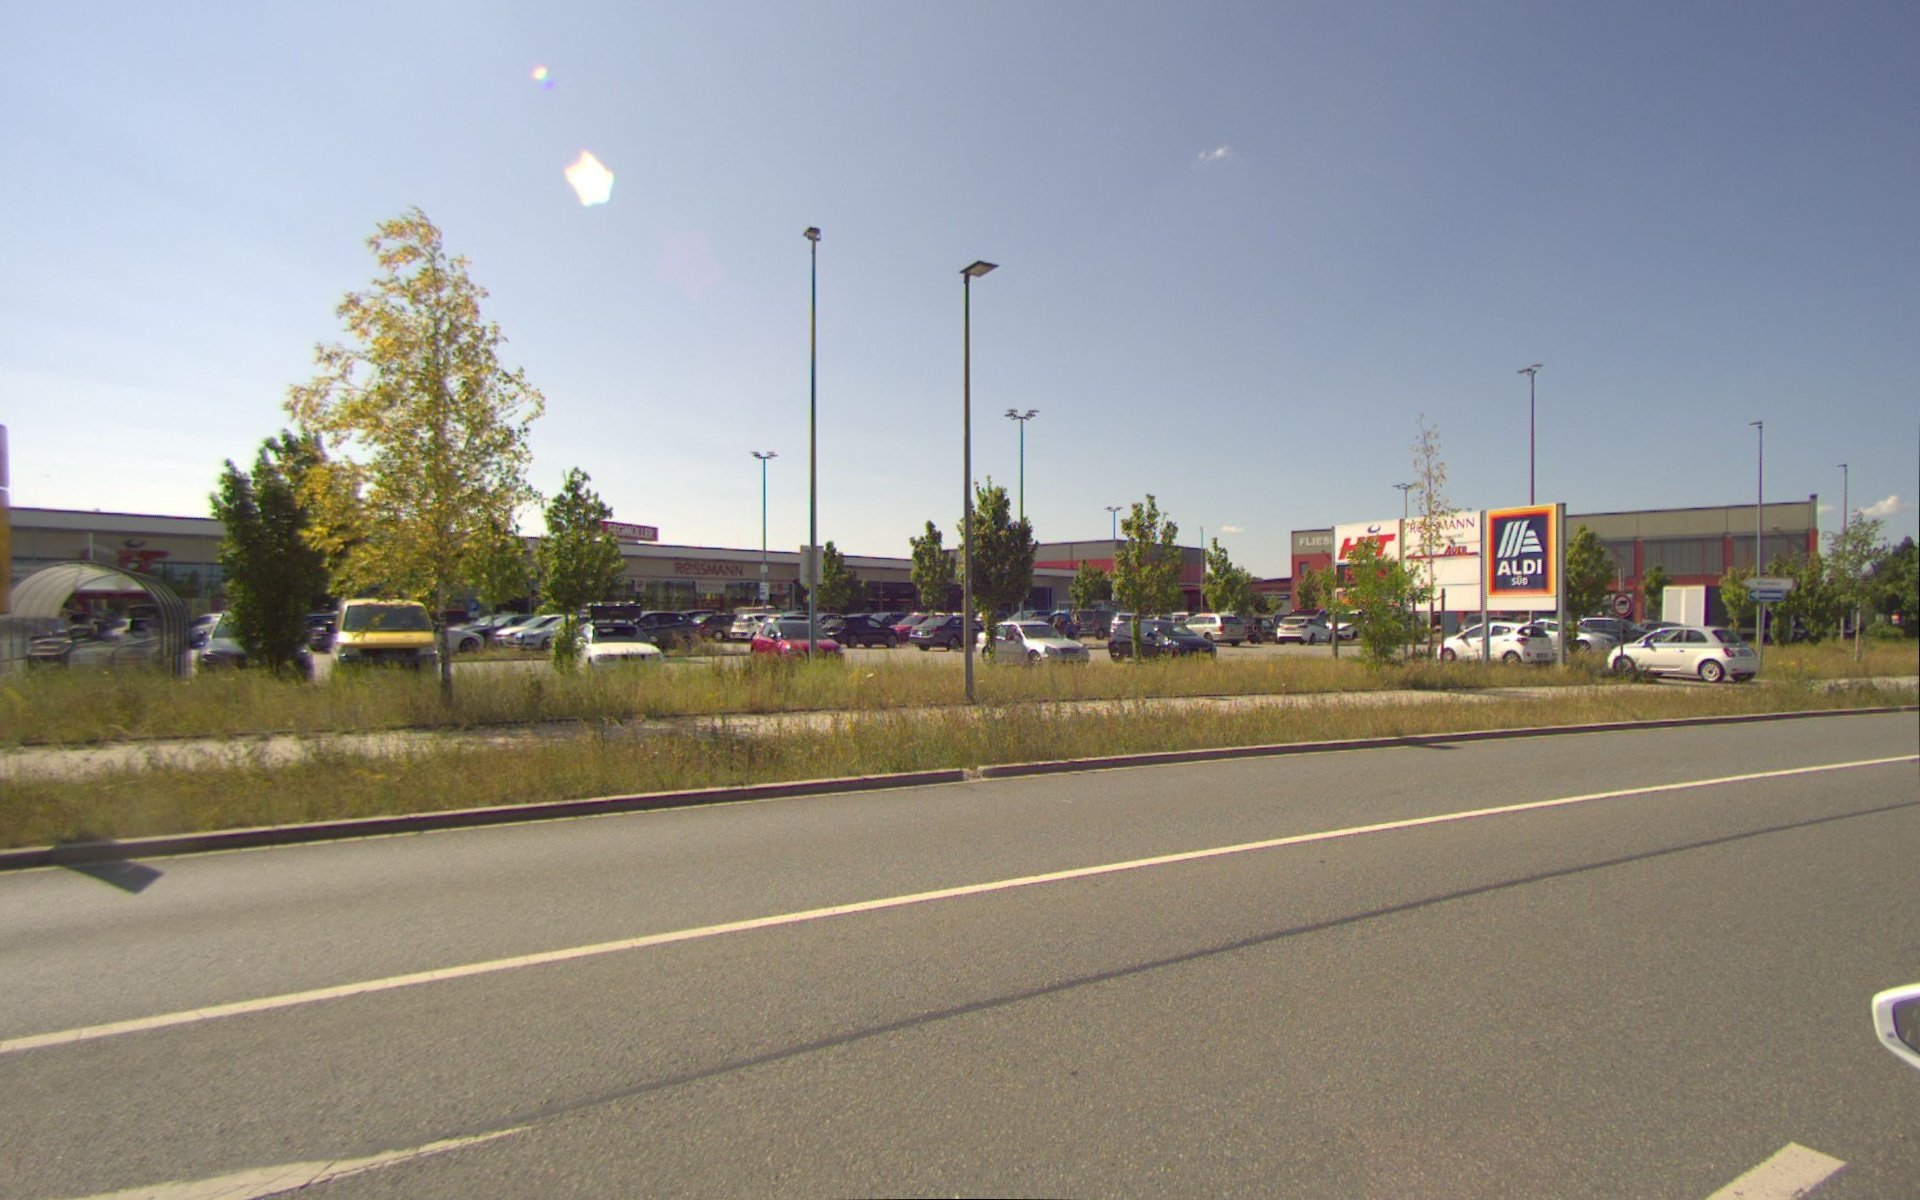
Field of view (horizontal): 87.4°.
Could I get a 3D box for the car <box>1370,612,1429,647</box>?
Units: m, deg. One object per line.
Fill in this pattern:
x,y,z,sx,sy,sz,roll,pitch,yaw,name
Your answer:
24.534,1.627,56.004,1.811,1.848,4.359,0,-1,41,car

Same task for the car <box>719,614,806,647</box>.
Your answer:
-10.183,1.549,52.011,1.691,1.637,4.334,-1,-1,40,car

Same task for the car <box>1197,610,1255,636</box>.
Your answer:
16.908,1.440,63.825,1.811,1.603,4.359,0,-1,41,car

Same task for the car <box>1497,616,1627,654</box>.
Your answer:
26.320,1.496,44.027,1.819,1.532,4.578,1,-1,-34,car

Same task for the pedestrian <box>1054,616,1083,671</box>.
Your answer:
3.424,1.372,31.687,0.571,1.717,0.761,1,-1,-28,pedestrian

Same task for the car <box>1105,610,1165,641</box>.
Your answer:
10.621,1.534,60.735,1.886,1.749,4.367,0,-1,36,car

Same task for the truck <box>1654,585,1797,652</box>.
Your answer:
41.871,1.058,54.921,7.371,3.510,2.316,1,-1,-16,truck

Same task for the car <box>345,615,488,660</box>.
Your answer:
-19.821,1.348,36.765,1.693,1.546,4.330,-1,-1,42,car

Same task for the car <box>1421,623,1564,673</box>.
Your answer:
17.987,1.575,34.120,1.892,1.568,3.974,1,-1,-26,car

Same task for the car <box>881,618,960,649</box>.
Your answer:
-2.036,1.742,52.981,1.691,1.596,4.334,-1,-1,40,car

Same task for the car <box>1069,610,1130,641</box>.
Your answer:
8.675,1.585,62.112,1.887,1.817,4.365,0,-1,37,car

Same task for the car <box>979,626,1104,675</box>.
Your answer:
2.404,1.485,30.779,1.912,1.366,4.127,1,-1,-28,car

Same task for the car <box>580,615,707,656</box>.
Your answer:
-11.809,1.286,37.702,1.691,1.436,4.334,-1,-1,40,car

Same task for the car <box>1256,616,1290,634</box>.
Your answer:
29.142,2.310,93.561,1.641,1.598,4.066,0,-1,39,car

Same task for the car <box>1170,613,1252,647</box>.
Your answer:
12.067,1.433,48.541,1.814,1.568,3.977,1,-1,-23,car

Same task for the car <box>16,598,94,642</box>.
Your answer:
-39.590,0.856,43.916,4.284,1.831,1.711,-1,-1,36,car

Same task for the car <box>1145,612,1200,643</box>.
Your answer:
12.593,1.599,59.318,1.884,1.740,4.372,0,-1,31,car

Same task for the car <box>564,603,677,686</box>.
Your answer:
-8.542,1.055,25.053,1.910,1.886,4.124,1,-1,-30,car

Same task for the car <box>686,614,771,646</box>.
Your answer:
-12.341,1.590,53.719,1.691,1.623,4.334,-1,-1,40,car

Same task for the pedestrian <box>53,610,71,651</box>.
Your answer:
-30.741,1.038,34.383,0.503,1.414,0.411,0,-1,43,pedestrian

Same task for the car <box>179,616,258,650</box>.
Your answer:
-35.142,1.546,47.600,4.284,1.545,1.828,-1,-1,36,car

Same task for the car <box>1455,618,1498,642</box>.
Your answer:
35.824,2.090,69.599,1.810,1.583,4.363,0,-1,39,car

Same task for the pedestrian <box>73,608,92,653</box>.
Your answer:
-29.118,1.012,33.343,0.503,1.484,0.411,0,-1,43,pedestrian

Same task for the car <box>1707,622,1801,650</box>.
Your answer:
48.199,2.147,61.003,1.826,1.573,4.324,2,-1,-45,car

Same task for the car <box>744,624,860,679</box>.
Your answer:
-4.429,1.352,27.666,1.912,1.366,4.127,1,-1,-28,car

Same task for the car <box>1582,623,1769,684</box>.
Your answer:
20.404,1.479,28.825,1.893,1.568,3.972,1,-1,-27,car

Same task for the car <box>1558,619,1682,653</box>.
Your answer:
30.706,1.647,46.866,1.819,1.478,4.548,1,-1,-34,car

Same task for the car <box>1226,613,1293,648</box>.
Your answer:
16.497,1.683,55.284,1.890,1.827,4.359,0,-1,41,car

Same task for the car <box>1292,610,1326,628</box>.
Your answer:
31.630,1.700,90.944,1.641,1.608,4.066,0,-1,39,car

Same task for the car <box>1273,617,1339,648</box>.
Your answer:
18.319,1.696,53.114,1.811,1.532,4.359,0,-1,41,car

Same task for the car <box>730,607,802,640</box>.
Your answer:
-12.042,1.431,62.445,1.691,1.984,4.334,-1,-1,40,car

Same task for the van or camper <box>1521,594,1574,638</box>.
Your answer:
46.136,1.308,78.792,2.401,3.314,7.201,0,-1,40,van or camper

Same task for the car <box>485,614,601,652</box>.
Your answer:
-17.816,1.374,43.113,1.691,1.553,4.334,-1,-1,40,car

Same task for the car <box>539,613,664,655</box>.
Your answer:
-13.939,1.291,39.239,1.691,1.570,4.334,-1,-1,40,car

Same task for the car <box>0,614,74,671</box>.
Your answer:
-27.189,1.150,27.372,1.691,1.546,4.336,-1,-1,39,car

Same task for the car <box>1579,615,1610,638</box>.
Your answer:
48.706,2.038,77.067,1.640,1.693,4.067,0,-1,38,car

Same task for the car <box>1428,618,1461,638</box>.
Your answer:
40.134,2.301,83.168,1.640,1.636,4.067,0,-1,38,car

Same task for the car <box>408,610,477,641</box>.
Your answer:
-28.767,1.396,55.797,4.284,1.655,1.711,-1,-1,36,car

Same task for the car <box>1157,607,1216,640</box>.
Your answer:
14.832,1.524,65.551,1.811,2.051,4.610,0,-1,41,car

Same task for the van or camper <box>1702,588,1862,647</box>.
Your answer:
51.838,1.082,63.538,2.538,3.514,7.618,1,-1,-44,van or camper

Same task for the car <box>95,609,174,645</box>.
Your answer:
-36.888,1.199,44.867,4.284,1.539,1.711,-1,-1,36,car

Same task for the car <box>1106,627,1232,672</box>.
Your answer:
6.803,1.575,33.110,1.912,1.366,4.127,1,-1,-28,car

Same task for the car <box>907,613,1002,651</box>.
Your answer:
-0.172,1.344,43.114,1.691,1.536,4.334,-1,-1,40,car

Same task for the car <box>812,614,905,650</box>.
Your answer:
-4.615,1.435,46.042,1.691,1.581,4.334,-1,-1,40,car

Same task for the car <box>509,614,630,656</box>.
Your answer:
-15.934,1.401,41.159,1.691,1.592,4.334,-1,-1,40,car

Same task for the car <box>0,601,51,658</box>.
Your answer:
-31.210,0.912,31.015,1.693,1.764,4.557,-1,-1,43,car

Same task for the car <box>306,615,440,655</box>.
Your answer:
-23.328,1.349,40.051,1.693,1.497,4.330,-1,-1,42,car

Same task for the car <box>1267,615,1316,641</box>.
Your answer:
23.821,1.988,72.049,1.811,1.797,4.359,0,-1,41,car

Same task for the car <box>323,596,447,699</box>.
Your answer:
-12.884,0.971,22.321,1.980,1.991,5.646,1,-1,-34,car

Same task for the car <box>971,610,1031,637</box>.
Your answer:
2.786,1.571,67.184,1.887,1.740,4.365,0,-1,37,car

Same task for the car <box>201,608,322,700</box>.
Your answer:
-14.513,1.035,20.966,1.863,1.694,4.738,1,-1,-34,car

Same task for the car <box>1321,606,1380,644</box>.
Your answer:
22.417,1.446,57.583,1.811,2.092,4.359,0,-1,41,car

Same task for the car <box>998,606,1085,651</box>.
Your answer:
3.962,1.349,48.217,1.691,2.012,4.812,-1,-1,40,car

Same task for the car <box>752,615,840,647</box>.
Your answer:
-8.122,1.524,50.116,1.691,1.565,4.334,-1,-1,40,car
